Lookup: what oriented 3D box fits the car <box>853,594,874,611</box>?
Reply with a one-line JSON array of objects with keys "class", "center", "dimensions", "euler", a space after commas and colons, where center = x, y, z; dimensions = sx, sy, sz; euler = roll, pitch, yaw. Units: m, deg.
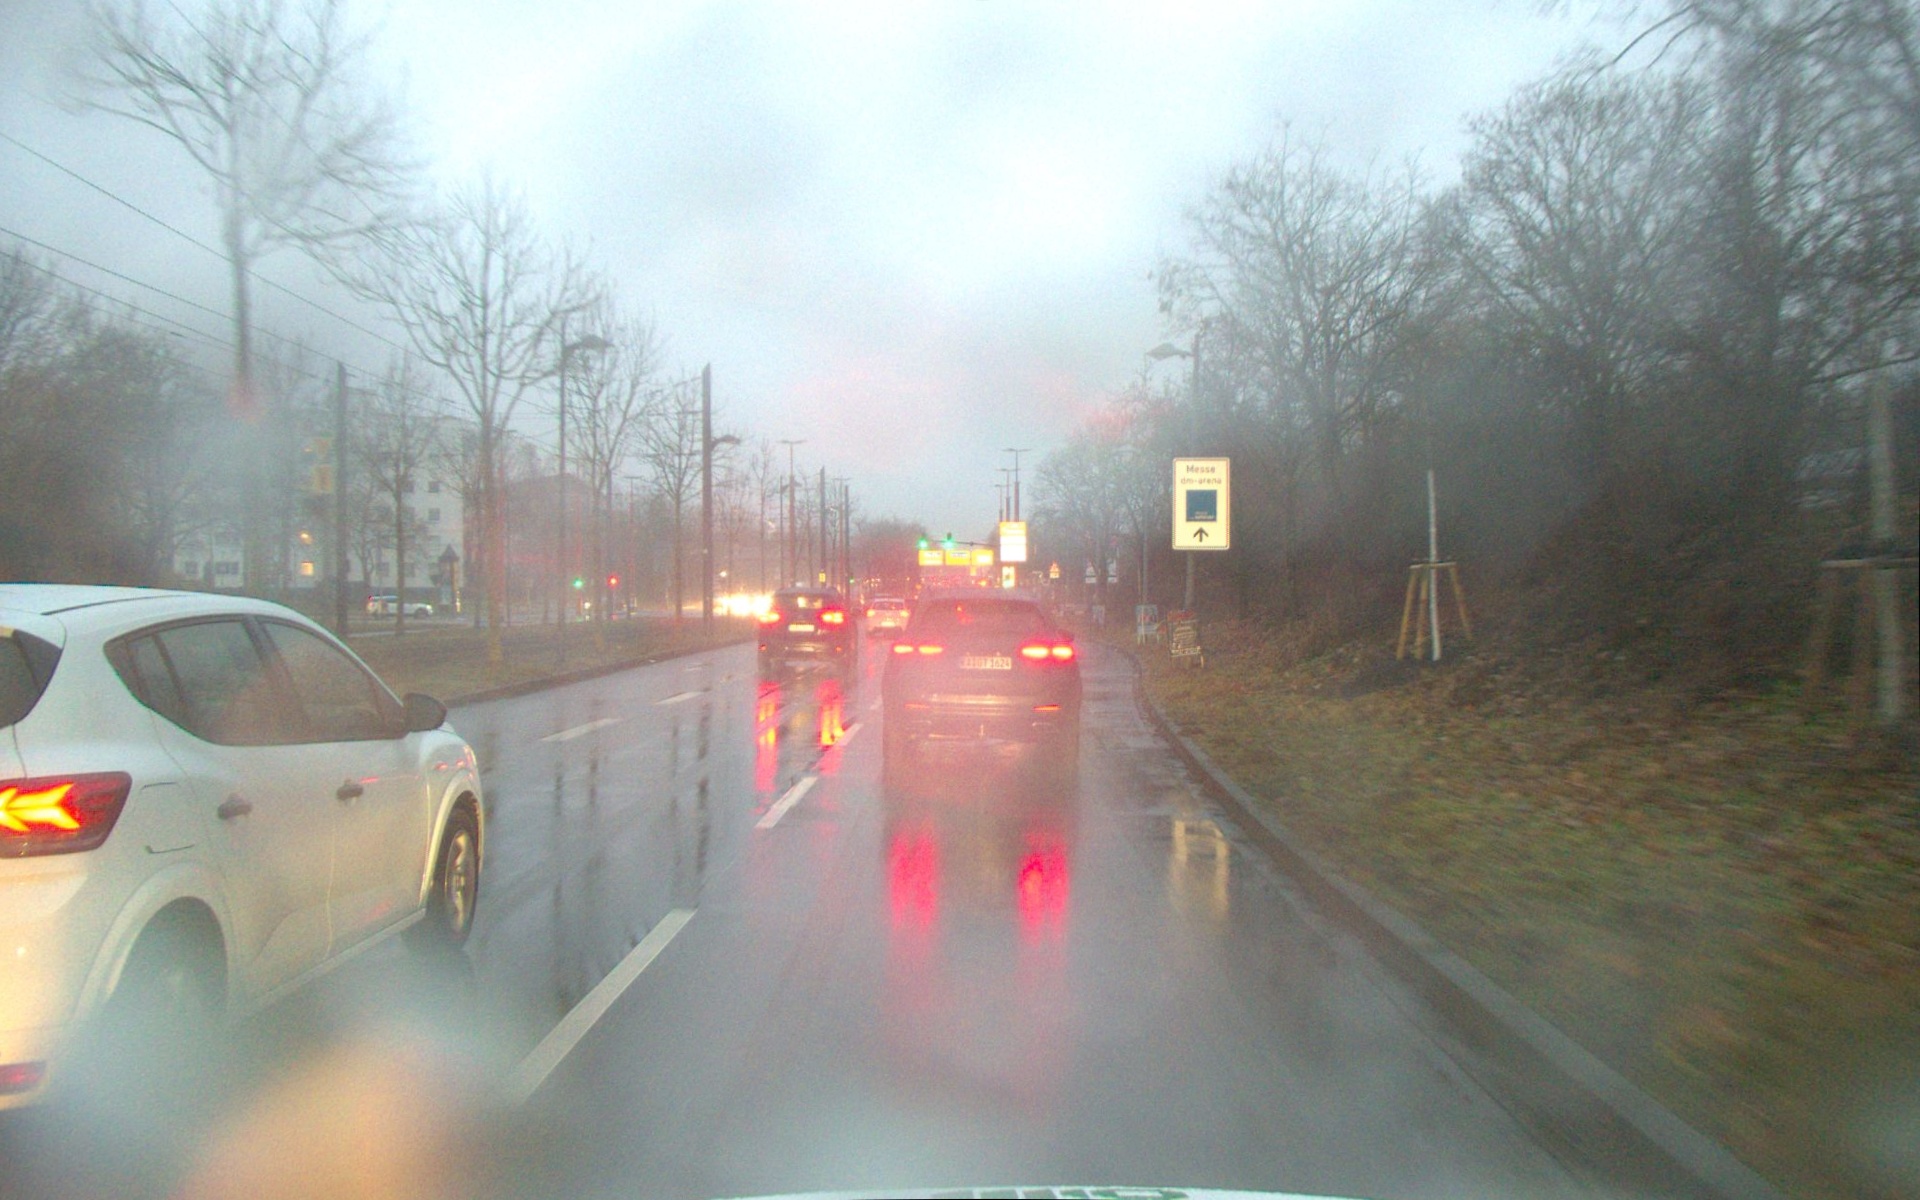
[{"class": "car", "center": [-9.937, 0.256, 170.646], "dimensions": [1.953, 1.695, 3.836], "euler": [0, 0, 0]}]

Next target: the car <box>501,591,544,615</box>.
[{"class": "car", "center": [-31.236, 0.237, 118.287], "dimensions": [1.953, 1.687, 4.000], "euler": [1, -1, 0]}]

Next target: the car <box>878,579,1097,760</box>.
[{"class": "car", "center": [0.238, 0.619, 16.953], "dimensions": [1.957, 1.612, 4.000], "euler": [1, 0, 0]}]

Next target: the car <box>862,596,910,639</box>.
[{"class": "car", "center": [-2.819, 0.656, 63.756], "dimensions": [1.673, 1.585, 3.996], "euler": [0, 0, 0]}]

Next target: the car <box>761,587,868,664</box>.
[{"class": "car", "center": [-2.935, 0.475, 34.128], "dimensions": [1.841, 1.485, 4.000], "euler": [0, 1, 0]}]

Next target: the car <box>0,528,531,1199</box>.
[{"class": "car", "center": [-2.772, 0.626, 5.475], "dimensions": [1.674, 1.551, 4.134], "euler": [0, 0, -1]}]

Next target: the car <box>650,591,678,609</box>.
[{"class": "car", "center": [-28.735, -0.021, 160.761], "dimensions": [1.953, 1.687, 4.000], "euler": [1, -1, 0]}]
